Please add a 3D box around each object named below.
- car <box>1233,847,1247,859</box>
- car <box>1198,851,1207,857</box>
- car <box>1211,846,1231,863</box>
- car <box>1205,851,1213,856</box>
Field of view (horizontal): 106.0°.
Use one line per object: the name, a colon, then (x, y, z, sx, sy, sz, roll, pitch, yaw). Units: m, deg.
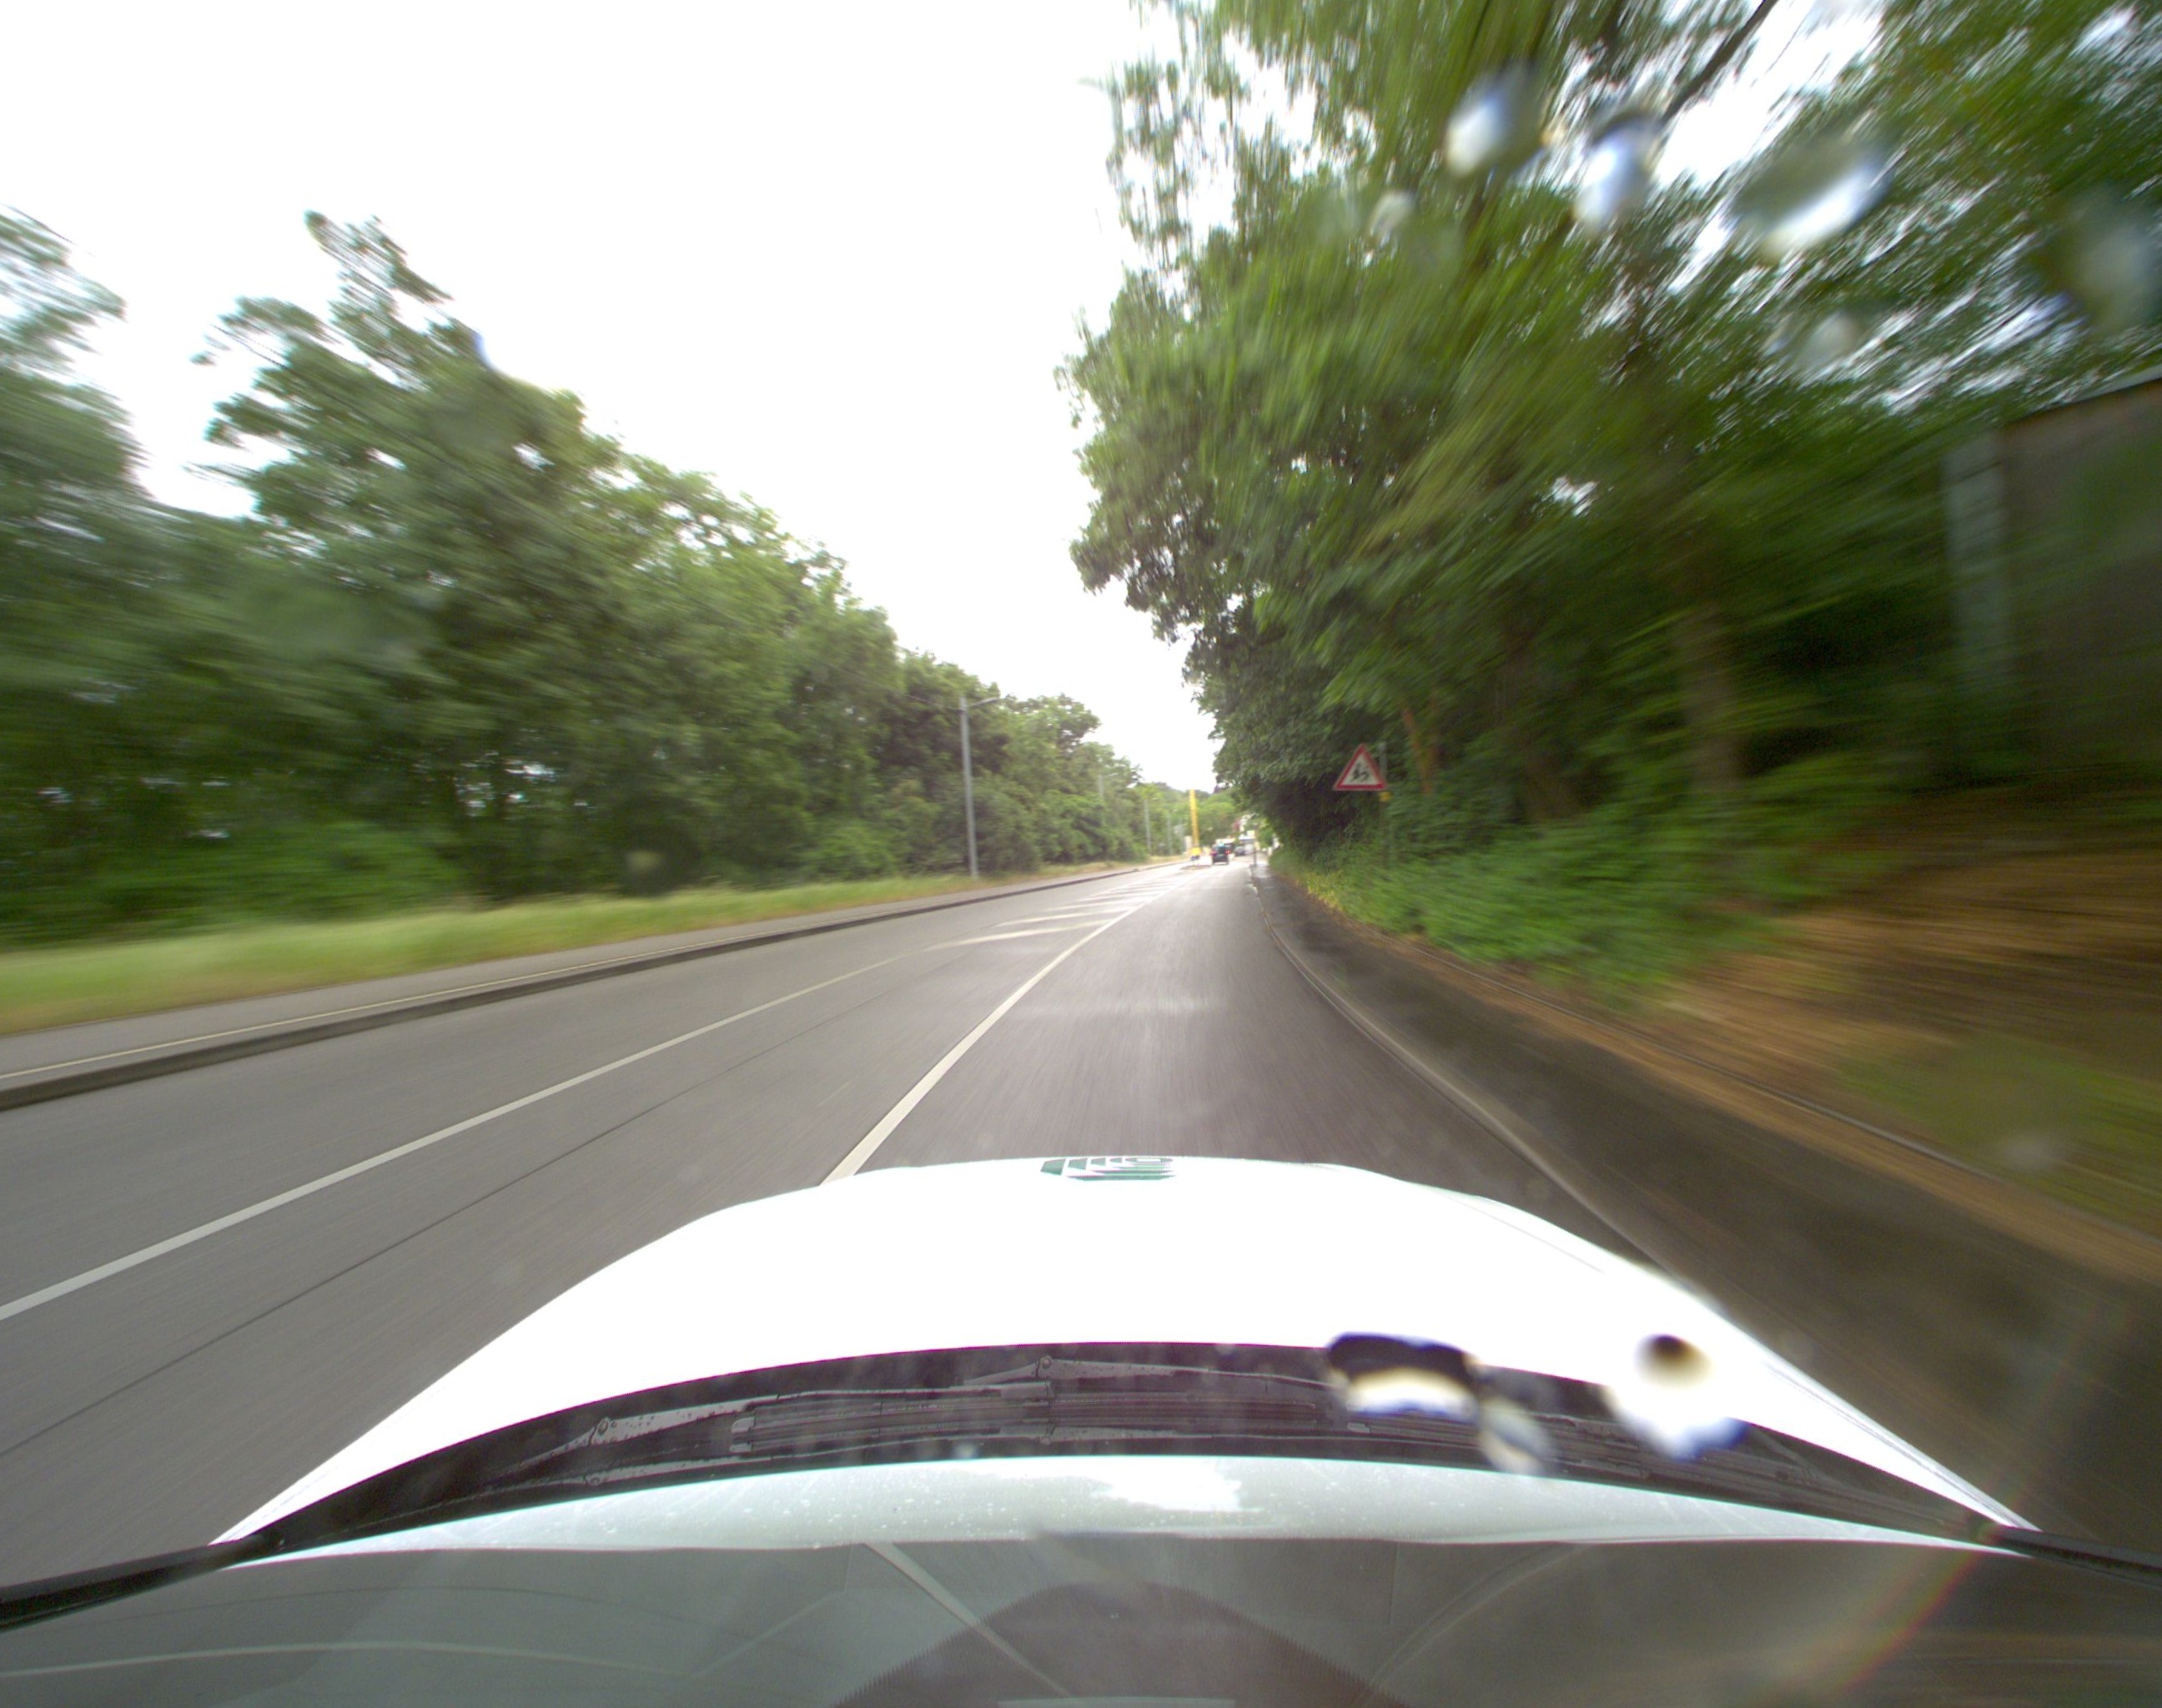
car: (24.445, -0.176, 124.833, 1.980, 1.772, 4.128, -2, 0, 12)
car: (36.069, -0.002, 242.102, 1.735, 1.552, 3.852, -3, 0, -2)
car: (13.602, 0.043, 78.997, 1.656, 1.594, 3.695, -1, 0, 12)
car: (36.808, -0.119, 234.213, 1.735, 1.552, 3.852, -1, 0, -2)
